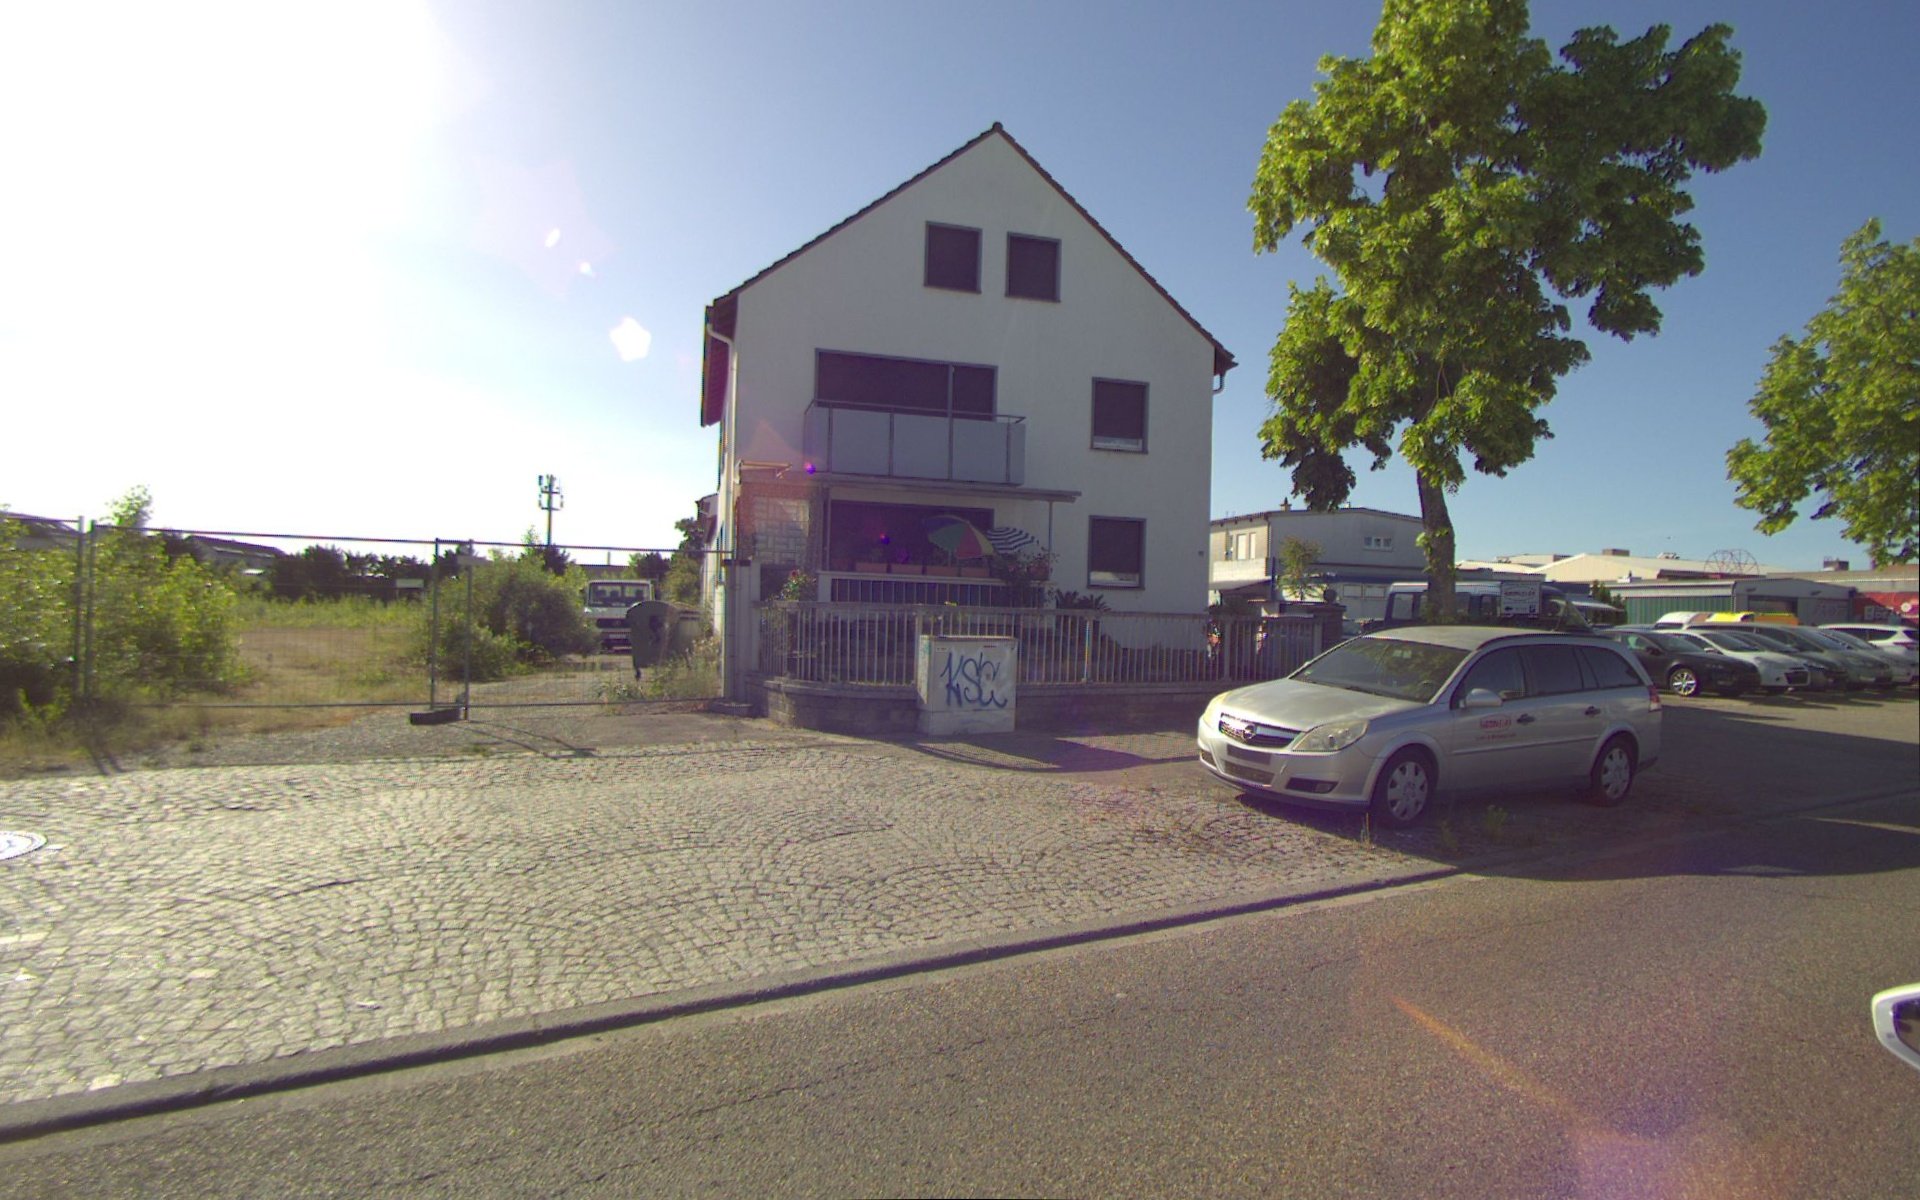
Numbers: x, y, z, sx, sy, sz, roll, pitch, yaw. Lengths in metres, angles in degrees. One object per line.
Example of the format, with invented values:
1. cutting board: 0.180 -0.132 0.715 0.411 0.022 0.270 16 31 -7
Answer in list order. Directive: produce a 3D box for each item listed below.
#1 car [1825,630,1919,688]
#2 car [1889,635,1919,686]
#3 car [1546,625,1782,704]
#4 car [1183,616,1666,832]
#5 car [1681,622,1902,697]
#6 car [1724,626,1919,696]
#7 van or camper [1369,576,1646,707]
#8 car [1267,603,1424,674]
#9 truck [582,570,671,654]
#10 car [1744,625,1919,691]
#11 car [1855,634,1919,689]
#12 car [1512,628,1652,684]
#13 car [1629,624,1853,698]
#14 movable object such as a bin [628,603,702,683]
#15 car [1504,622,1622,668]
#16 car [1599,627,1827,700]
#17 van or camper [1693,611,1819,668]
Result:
1. car: 30.335 1.873 31.724 1.743 1.751 4.233 2 -1 -27
2. car: 34.249 2.103 33.658 1.741 1.751 4.238 2 -1 -24
3. car: 16.326 1.436 23.548 1.741 1.562 4.238 2 0 -24
4. car: 4.161 0.953 8.881 4.156 1.454 1.680 2 2 -28
5. car: 22.188 1.537 27.005 1.742 1.776 4.235 2 -1 -26
6. car: 24.187 1.639 28.044 1.741 1.751 4.238 2 -1 -24
7. van or camper: 11.117 0.793 20.913 2.208 2.351 4.891 2 -1 -17
8. car: 9.706 0.950 25.628 1.651 1.600 3.982 4 -2 -16
9. truck: -11.288 0.412 34.439 2.144 2.550 6.578 2 -1 -12
10. car: 26.029 1.656 29.662 1.741 1.751 4.238 2 -1 -24
11. car: 32.246 2.053 32.744 1.741 1.751 4.238 2 -1 -24
12. car: 18.649 1.684 30.106 3.945 1.537 1.660 2 -1 -24
13. car: 20.088 1.511 26.031 1.745 1.607 4.228 2 0 -30
14. movable object such as a bin: -5.386 0.782 18.366 1.236 1.408 0.637 2 -1 -16
15. car: 22.100 1.637 36.828 3.942 1.576 1.694 2 -1 -22
16. car: 18.465 1.490 24.873 1.742 1.562 4.236 1 -1 -25
17. van or camper: 41.200 2.033 51.988 6.173 2.751 2.162 2 -1 -20
